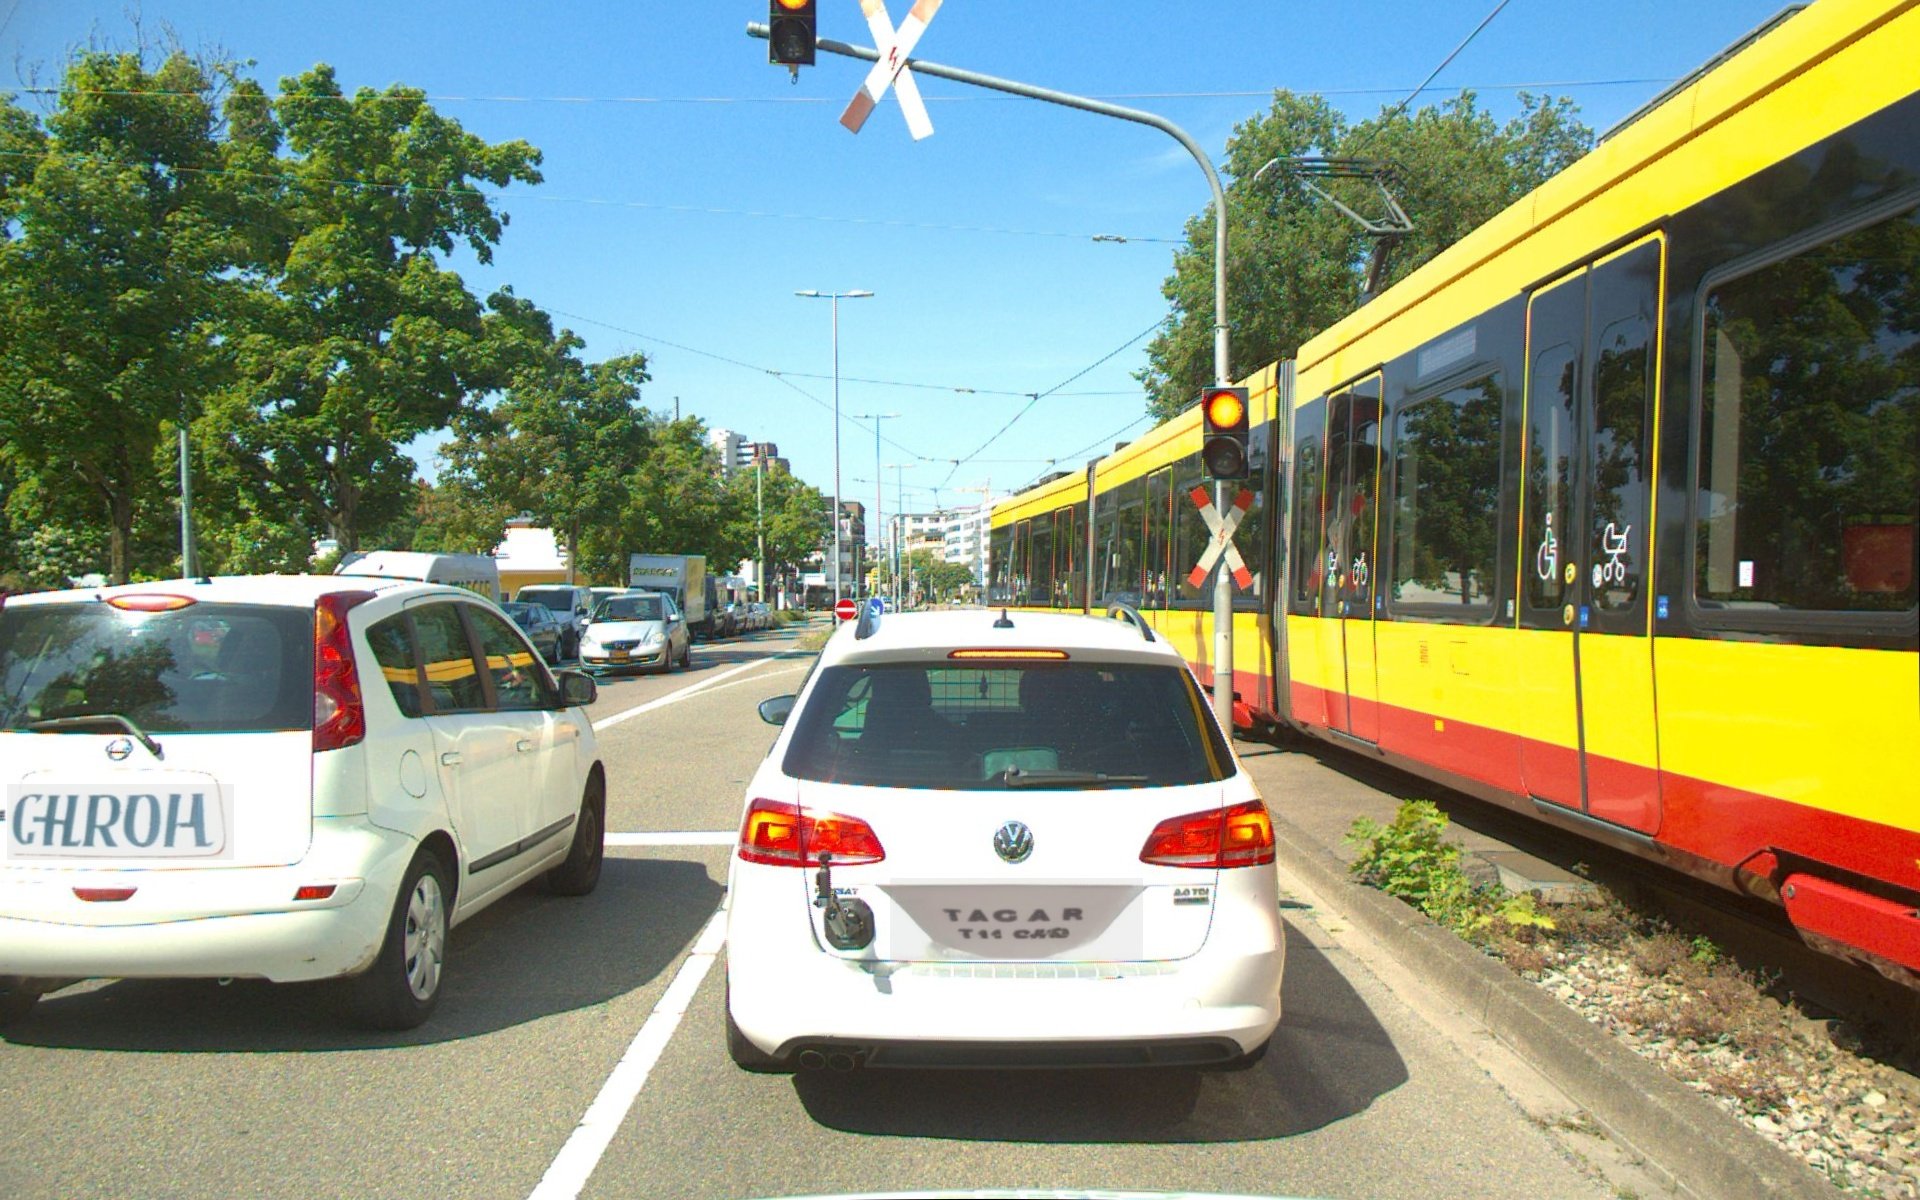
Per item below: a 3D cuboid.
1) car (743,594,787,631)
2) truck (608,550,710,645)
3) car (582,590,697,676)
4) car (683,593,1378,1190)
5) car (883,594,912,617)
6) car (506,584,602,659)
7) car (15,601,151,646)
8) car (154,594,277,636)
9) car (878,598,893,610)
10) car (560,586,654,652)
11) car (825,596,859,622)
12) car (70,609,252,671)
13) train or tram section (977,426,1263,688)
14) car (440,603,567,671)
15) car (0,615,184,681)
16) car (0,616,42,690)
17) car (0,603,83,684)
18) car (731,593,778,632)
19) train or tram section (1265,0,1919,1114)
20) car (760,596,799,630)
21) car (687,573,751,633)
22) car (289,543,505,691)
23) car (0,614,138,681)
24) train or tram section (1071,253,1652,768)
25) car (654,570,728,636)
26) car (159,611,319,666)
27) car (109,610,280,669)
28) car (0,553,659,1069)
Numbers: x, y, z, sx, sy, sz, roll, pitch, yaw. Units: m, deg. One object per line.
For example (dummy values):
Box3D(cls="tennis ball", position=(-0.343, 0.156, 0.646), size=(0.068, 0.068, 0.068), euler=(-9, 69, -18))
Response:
Box3D(cls="car", position=(-10.755, 0.657, 91.507), size=(1.826, 1.900, 5.412), euler=(1, 0, -1))
Box3D(cls="truck", position=(-10.829, -0.088, 60.149), size=(2.371, 3.205, 6.996), euler=(1, 0, 0))
Box3D(cls="car", position=(-6.434, 0.631, 33.552), size=(1.642, 1.580, 3.579), euler=(-3, 0, -1))
Box3D(cls="car", position=(0.153, 0.724, 6.173), size=(1.726, 1.455, 3.999), euler=(-1, 0, -1))
Box3D(cls="car", position=(-4.239, 0.351, 112.540), size=(1.670, 1.499, 4.589), euler=(-1, 0, 0))
Box3D(cls="car", position=(-10.996, 0.548, 45.137), size=(1.827, 1.900, 5.068), euler=(1, 0, -6))
Box3D(cls="car", position=(-37.809, 1.007, 71.377), size=(4.698, 1.819, 2.062), euler=(1, 0, -5))
Box3D(cls="car", position=(-34.368, 0.693, 76.442), size=(4.698, 1.819, 2.062), euler=(1, 0, -5))
Box3D(cls="car", position=(-9.772, 0.530, 216.002), size=(1.670, 1.499, 4.589), euler=(-1, 0, 0))
Box3D(cls="car", position=(-10.965, 0.547, 51.723), size=(1.826, 1.900, 5.412), euler=(1, 0, -1))
Box3D(cls="car", position=(-7.221, 0.538, 101.528), size=(1.670, 1.499, 4.589), euler=(-1, 0, 0))
Box3D(cls="car", position=(-21.113, 1.042, 43.835), size=(3.909, 1.440, 1.728), euler=(-2, 0, -5))
Box3D(cls="train or tram section", position=(2.511, -0.682, 30.359), size=(2.817, 3.923, 10.519), euler=(-1, 0, -8))
Box3D(cls="car", position=(-10.559, 0.817, 38.560), size=(1.826, 1.440, 4.278), euler=(1, 0, -1))
Box3D(cls="car", position=(-21.732, 1.183, 41.242), size=(3.909, 1.440, 1.728), euler=(-2, 0, -5))
Box3D(cls="car", position=(-20.729, 1.135, 32.864), size=(3.909, 1.440, 1.728), euler=(-2, 0, -5))
Box3D(cls="car", position=(-21.077, 0.976, 35.117), size=(3.909, 1.638, 1.728), euler=(-2, 0, -5))
Box3D(cls="car", position=(-10.486, 0.588, 84.697), size=(1.826, 1.900, 5.412), euler=(1, 0, -1))
Box3D(cls="train or tram section", position=(3.988, -0.564, 6.569), size=(2.813, 3.923, 12.387), euler=(-1, 0, -2))
Box3D(cls="car", position=(-10.703, 0.745, 98.424), size=(1.826, 1.900, 5.412), euler=(1, 0, -1))
Box3D(cls="car", position=(-10.952, 0.125, 75.583), size=(2.079, 2.560, 5.733), euler=(1, 0, 0))
Box3D(cls="car", position=(-10.746, 0.289, 32.128), size=(2.079, 2.560, 5.817), euler=(1, 0, 1))
Box3D(cls="car", position=(-21.617, 1.130, 38.634), size=(3.909, 1.440, 1.728), euler=(-2, 0, -5))
Box3D(cls="train or tram section", position=(3.526, -0.731, 18.912), size=(2.814, 3.923, 12.382), euler=(-1, 0, -4))
Box3D(cls="car", position=(-11.007, 0.088, 68.146), size=(2.079, 2.560, 5.733), euler=(1, 0, 0))
Box3D(cls="car", position=(-21.276, 1.120, 48.929), size=(3.909, 1.440, 1.728), euler=(-2, 0, -5))
Box3D(cls="car", position=(-21.288, 1.075, 46.111), size=(3.909, 1.440, 1.728), euler=(-2, 0, -5))
Box3D(cls="car", position=(-2.567, 0.634, 7.321), size=(1.628, 1.575, 4.546), euler=(0, 0, 0))
